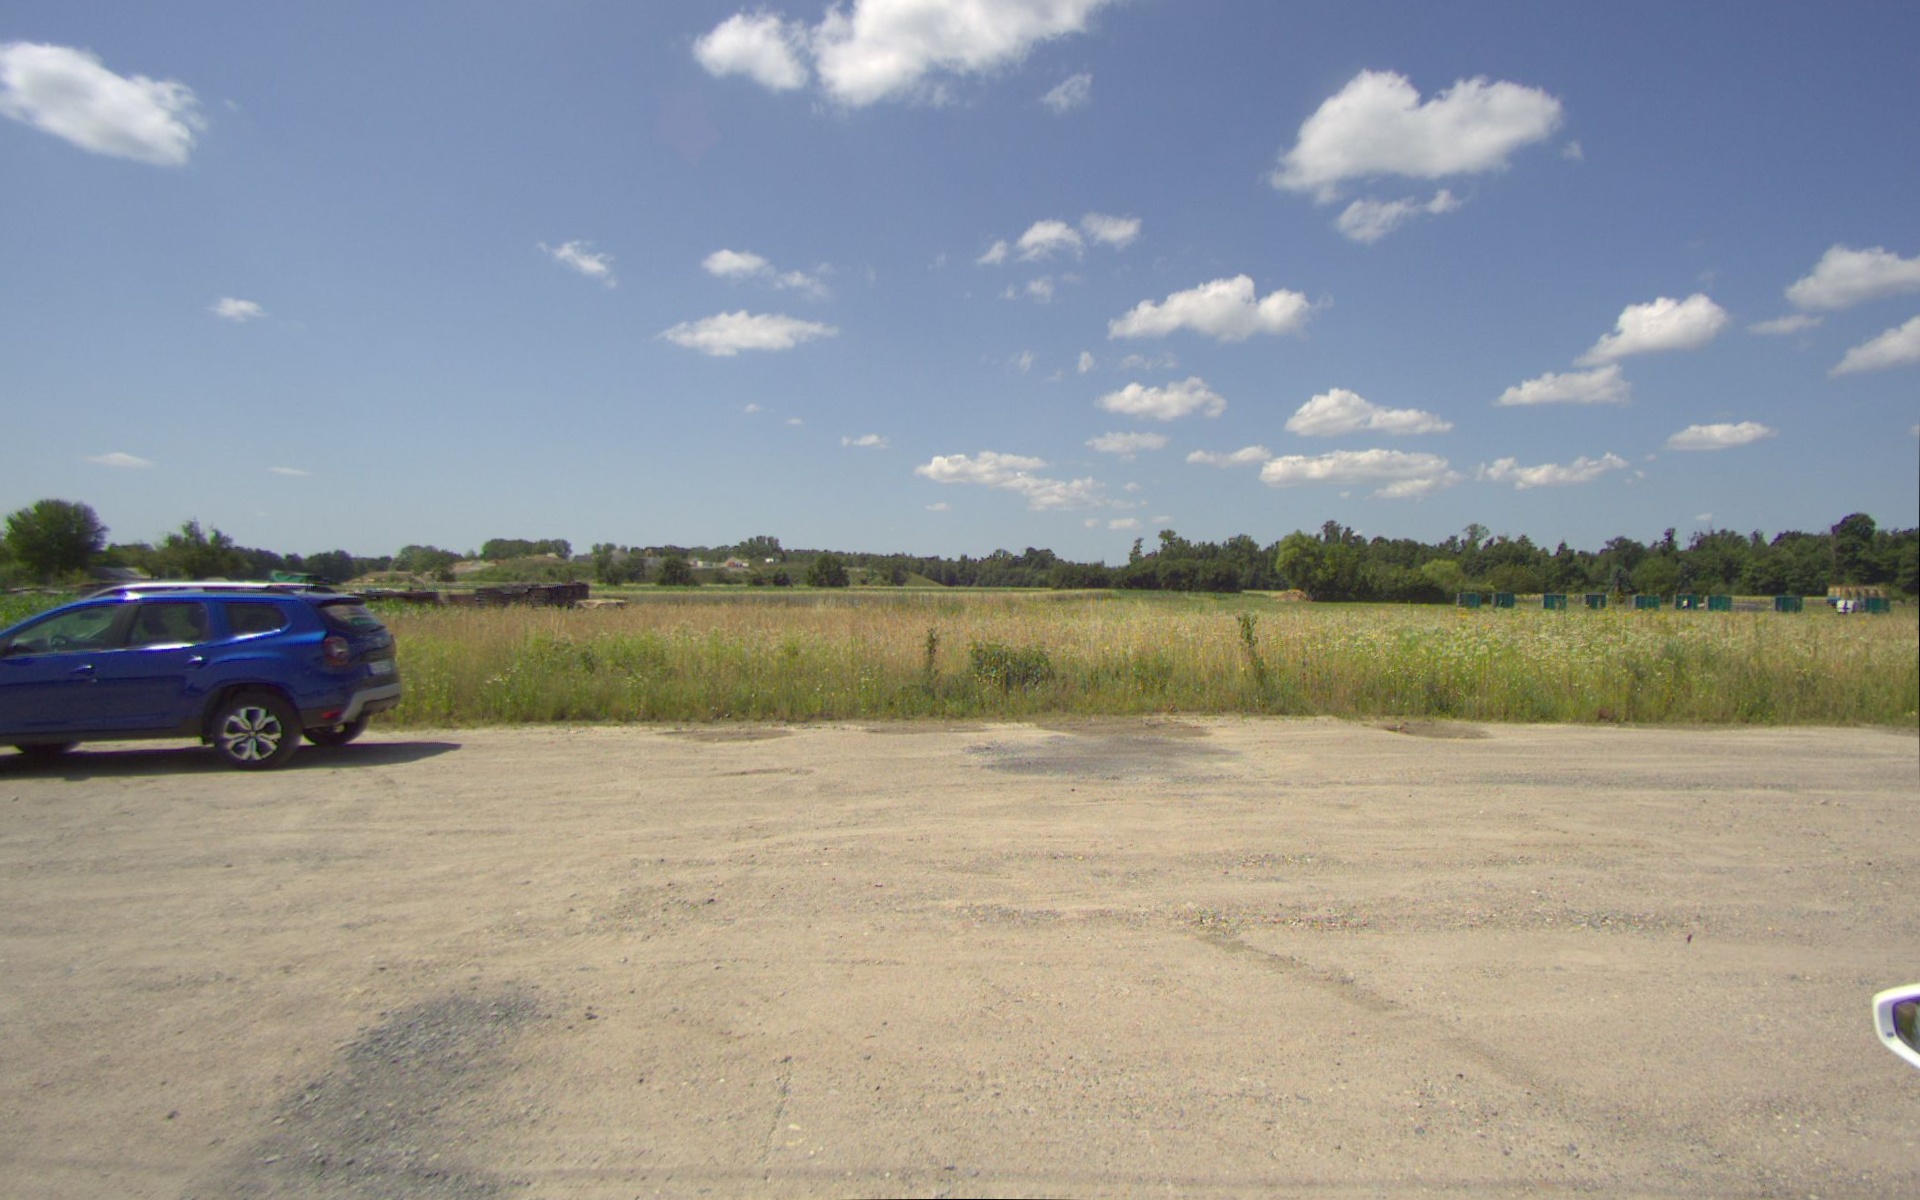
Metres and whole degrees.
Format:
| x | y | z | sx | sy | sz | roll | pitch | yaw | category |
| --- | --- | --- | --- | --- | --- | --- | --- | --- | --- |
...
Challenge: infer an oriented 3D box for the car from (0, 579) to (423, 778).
| x | y | z | sx | sy | sz | roll | pitch | yaw | category |
| --- | --- | --- | --- | --- | --- | --- | --- | --- | --- |
| -7.850 | 0.674 | 9.610 | 4.379 | 1.683 | 1.861 | -1 | 0 | -11 | car |
